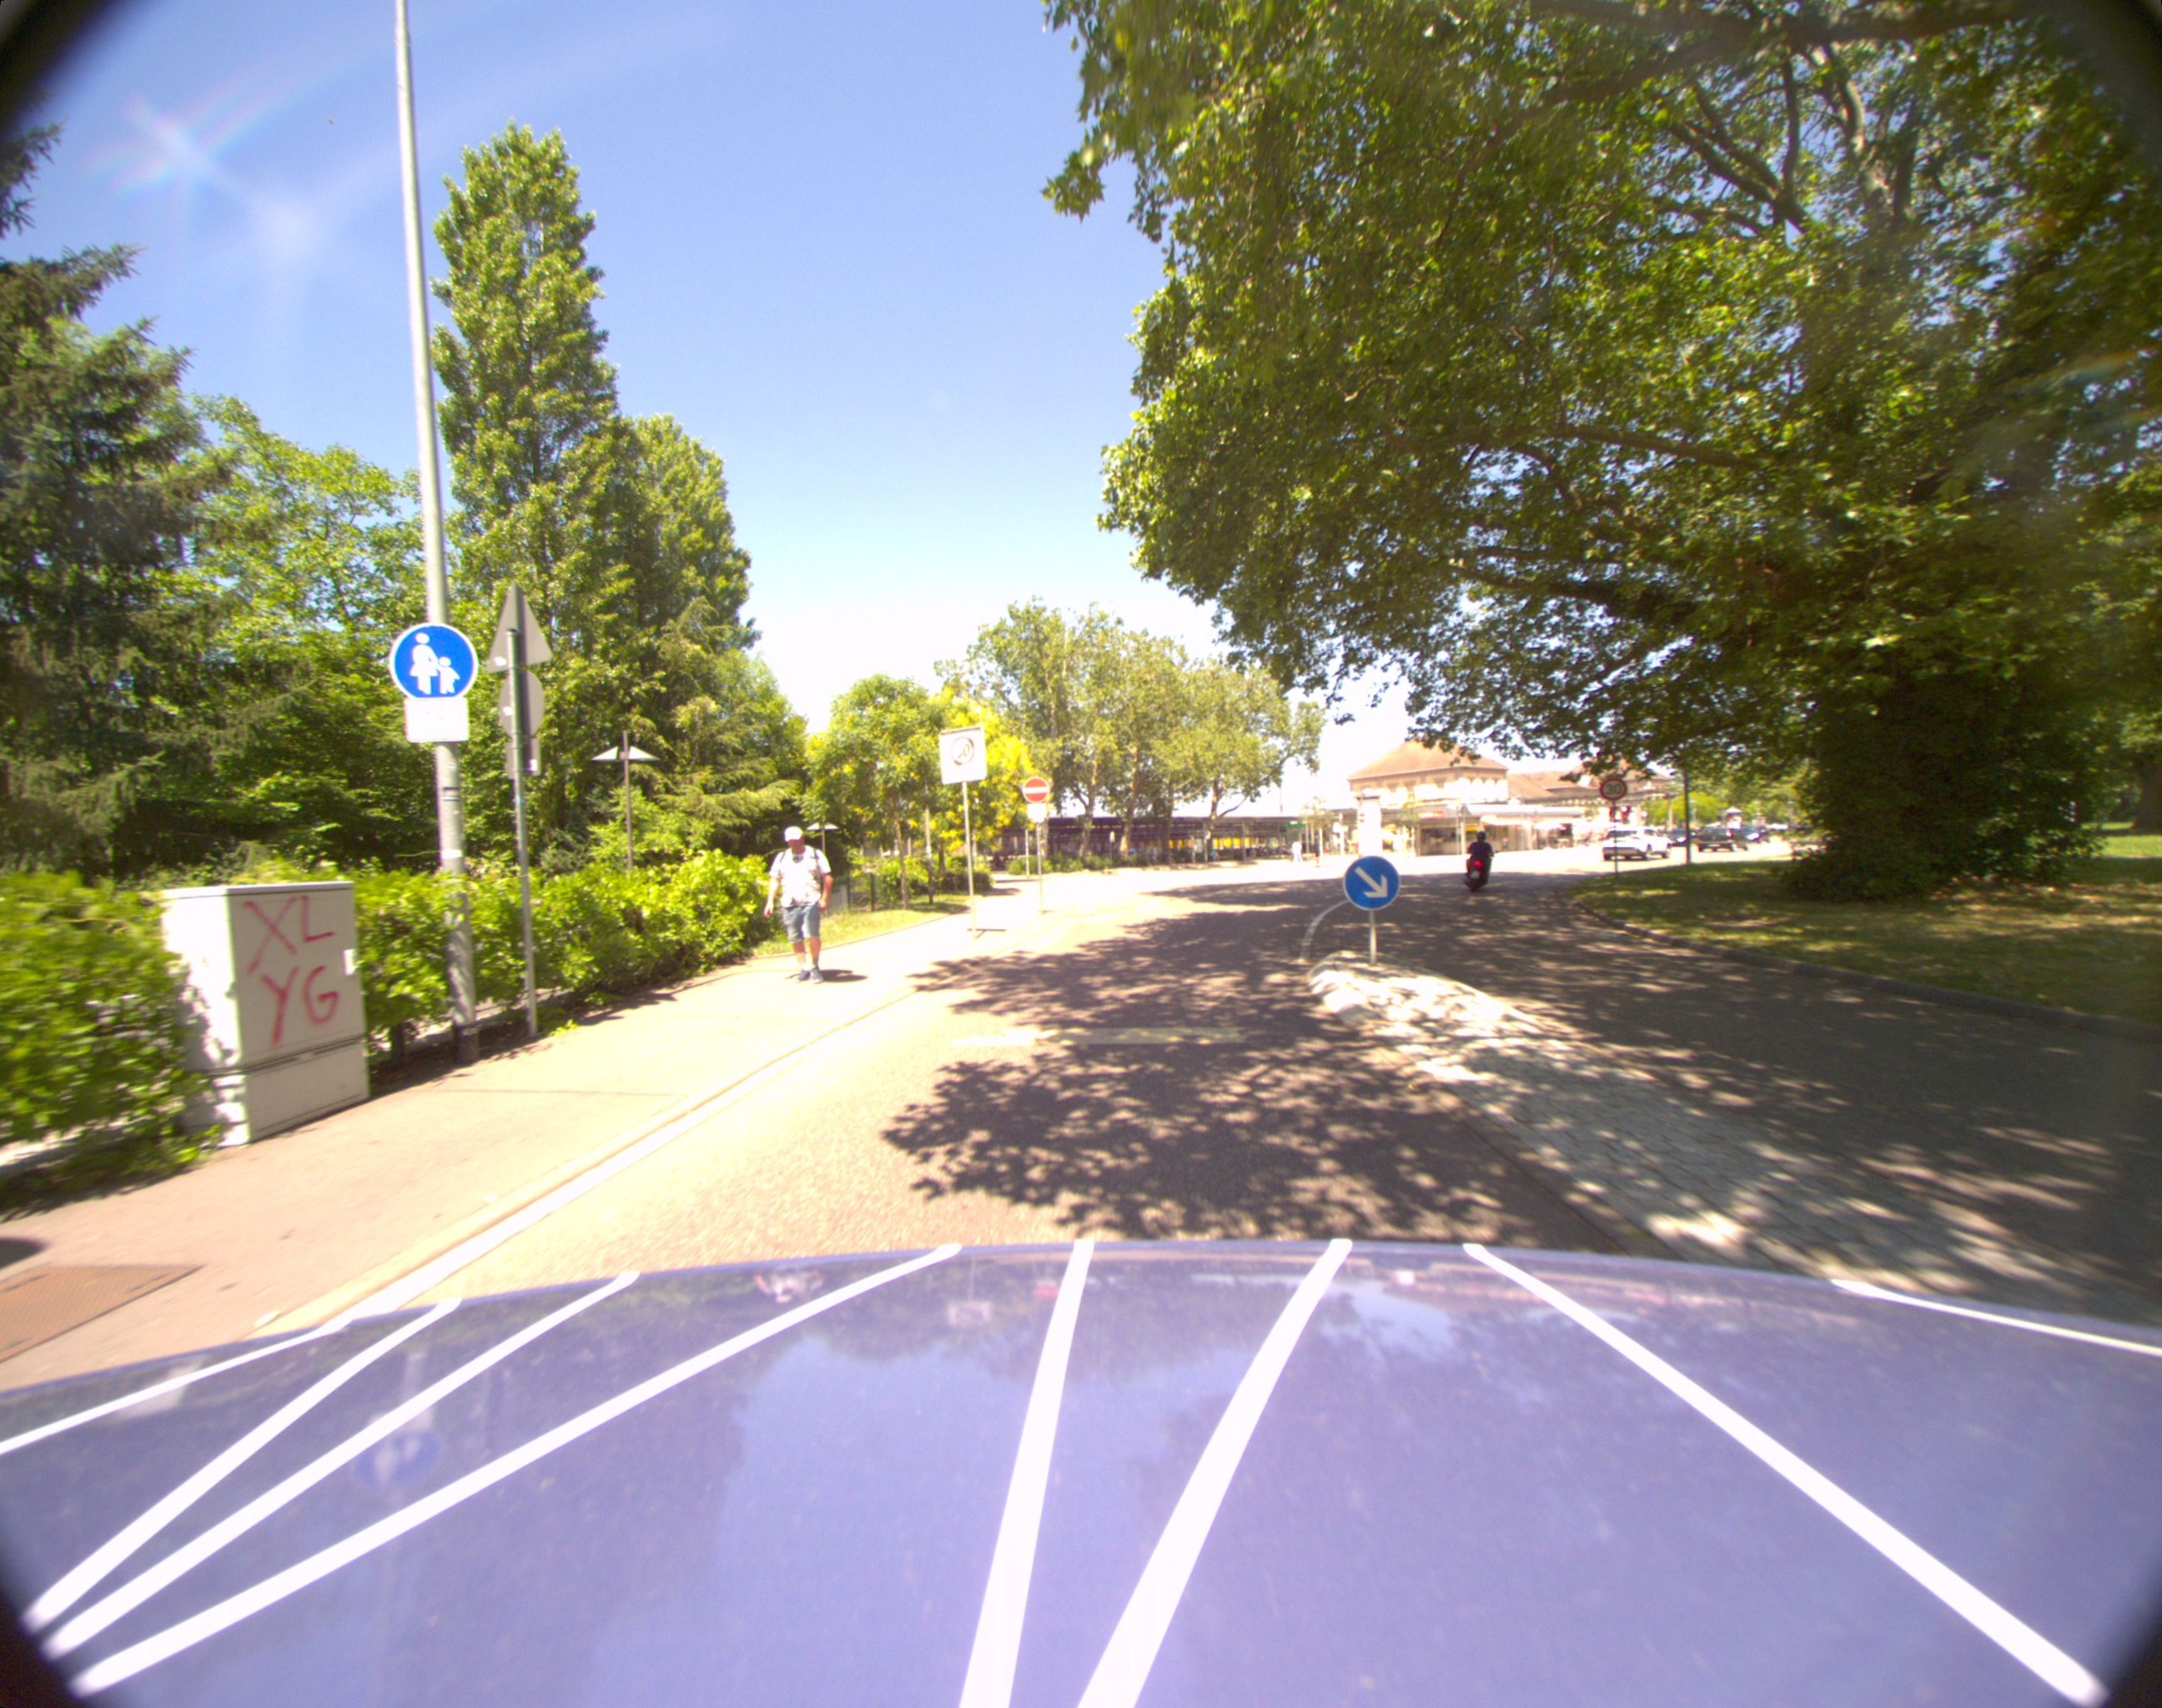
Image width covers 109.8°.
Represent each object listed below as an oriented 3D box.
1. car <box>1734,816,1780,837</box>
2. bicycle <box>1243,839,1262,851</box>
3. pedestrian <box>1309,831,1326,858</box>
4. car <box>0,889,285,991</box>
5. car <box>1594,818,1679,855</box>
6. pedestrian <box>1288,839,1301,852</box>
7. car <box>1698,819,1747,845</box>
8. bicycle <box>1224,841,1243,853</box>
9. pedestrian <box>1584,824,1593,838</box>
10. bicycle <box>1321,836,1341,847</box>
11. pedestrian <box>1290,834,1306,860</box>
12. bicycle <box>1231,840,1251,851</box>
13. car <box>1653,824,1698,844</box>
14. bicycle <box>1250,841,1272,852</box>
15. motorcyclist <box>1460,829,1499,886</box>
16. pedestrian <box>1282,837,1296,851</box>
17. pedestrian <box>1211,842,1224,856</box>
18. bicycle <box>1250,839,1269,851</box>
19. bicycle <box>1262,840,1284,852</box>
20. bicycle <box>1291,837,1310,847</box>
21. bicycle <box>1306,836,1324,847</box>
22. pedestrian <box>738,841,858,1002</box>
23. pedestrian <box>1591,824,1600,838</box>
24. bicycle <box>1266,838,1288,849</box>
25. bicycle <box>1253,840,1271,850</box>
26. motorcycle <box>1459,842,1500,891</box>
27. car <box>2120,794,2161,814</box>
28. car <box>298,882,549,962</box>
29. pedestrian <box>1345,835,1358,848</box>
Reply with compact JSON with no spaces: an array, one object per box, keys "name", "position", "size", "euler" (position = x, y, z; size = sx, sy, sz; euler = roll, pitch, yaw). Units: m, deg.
[{"name":"car","position":[53.321,-2.193,59.945],"size":[4.189,1.536,1.774],"euler":[-3,3,-35]},{"name":"bicycle","position":[18.496,-0.942,81.925],"size":[2.172,1.068,0.668],"euler":[-7,5,-31]},{"name":"pedestrian","position":[15.691,-0.630,50.449],"size":[0.914,1.775,0.695],"euler":[-3,1,7]},{"name":"car","position":[-18.358,1.595,14.509],"size":[3.975,1.527,1.652],"euler":[-3,1,-31]},{"name":"car","position":[27.522,-0.868,37.619],"size":[4.330,1.737,2.044],"euler":[-2,2,-34]},{"name":"pedestrian","position":[21.315,-0.841,75.820],"size":[0.832,1.297,0.960],"euler":[-3,1,-34]},{"name":"car","position":[37.424,-1.295,44.315],"size":[4.007,1.409,1.641],"euler":[-2,2,-42]},{"name":"bicycle","position":[16.931,-0.801,84.347],"size":[2.172,1.068,0.668],"euler":[-7,5,-31]},{"name":"pedestrian","position":[44.366,-1.977,66.435],"size":[0.472,1.204,0.489],"euler":[-3,1,-29]},{"name":"bicycle","position":[27.514,-1.383,83.662],"size":[0.671,1.068,2.164],"euler":[-7,5,-31]},{"name":"pedestrian","position":[14.472,-0.468,50.673],"size":[0.913,1.726,0.676],"euler":[-3,1,13]},{"name":"bicycle","position":[17.533,-0.932,83.312],"size":[2.172,1.068,0.668],"euler":[-7,5,-31]},{"name":"car","position":[49.017,-1.660,62.665],"size":[4.189,1.536,1.774],"euler":[-3,3,-35]},{"name":"bicycle","position":[18.106,-0.768,76.611],"size":[0.671,1.068,2.163],"euler":[-8,5,-37]},{"name":"motorcyclist","position":[11.151,0.092,21.233],"size":[0.808,1.546,1.106],"euler":[-2,1,33]},{"name":"pedestrian","position":[20.600,-0.978,75.254],"size":[0.832,1.378,0.960],"euler":[-3,1,-34]},{"name":"pedestrian","position":[12.478,-0.442,69.486],"size":[0.869,1.267,0.829],"euler":[-4,1,-39]},{"name":"bicycle","position":[19.035,-1.012,81.005],"size":[2.172,1.068,0.668],"euler":[-7,5,-31]},{"name":"bicycle","position":[19.593,-0.820,77.592],"size":[0.671,1.068,2.163],"euler":[-8,5,-37]},{"name":"bicycle","position":[25.551,-1.420,88.568],"size":[0.671,1.068,2.164],"euler":[-7,5,-31]},{"name":"bicycle","position":[26.971,-1.478,87.586],"size":[2.172,1.068,0.668],"euler":[-7,5,-31]},{"name":"pedestrian","position":[-3.288,0.741,8.889],"size":[0.913,1.762,0.916],"euler":[0,2,15]},{"name":"pedestrian","position":[44.844,-2.024,66.232],"size":[0.514,1.225,0.502],"euler":[-4,1,-41]},{"name":"bicycle","position":[21.806,-1.147,84.475],"size":[2.163,1.068,0.864],"euler":[-1,5,38]},{"name":"bicycle","position":[20.610,-1.043,86.479],"size":[0.671,1.068,2.164],"euler":[-7,5,-31]},{"name":"motorcycle","position":[11.152,0.328,21.226],"size":[0.808,1.224,2.054],"euler":[-2,1,32]},{"name":"car","position":[104.216,-4.938,73.670],"size":[2.003,1.793,3.991],"euler":[-3,1,-32]},{"name":"car","position":[-16.136,1.593,19.025],"size":[4.507,1.491,1.766],"euler":[-3,1,-35]},{"name":"pedestrian","position":[28.904,-1.298,81.141],"size":[0.832,1.297,0.960],"euler":[-3,1,-34]}]
